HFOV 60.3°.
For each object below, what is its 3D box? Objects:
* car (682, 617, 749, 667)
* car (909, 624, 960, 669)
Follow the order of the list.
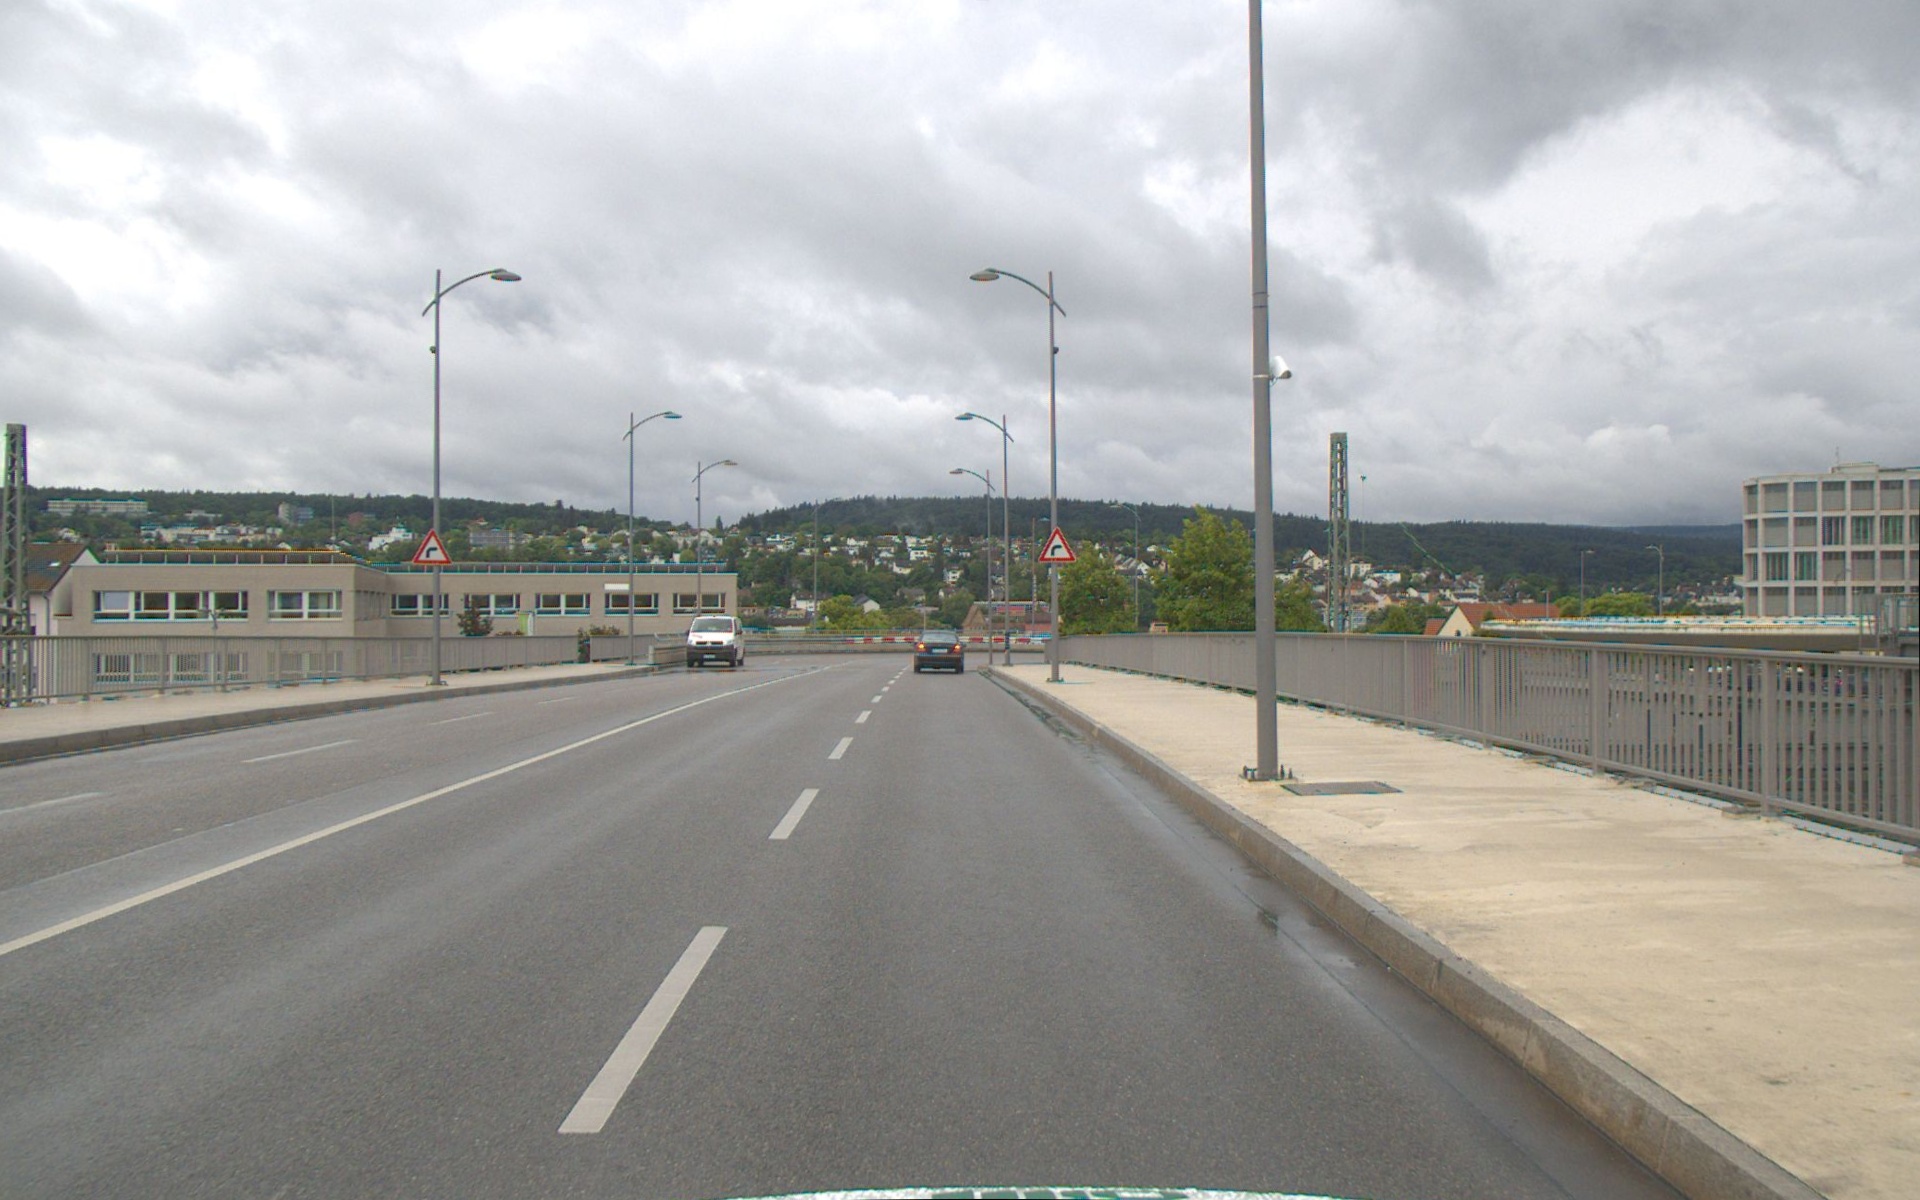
[{"bbox_3d":[-9.518,1.642,64.764,1.848,1.854,4.957,1,-2,0],"label":"car"},{"bbox_3d":[-0.868,1.581,56.115,1.671,1.444,3.724,1,-1,-1],"label":"car"}]
